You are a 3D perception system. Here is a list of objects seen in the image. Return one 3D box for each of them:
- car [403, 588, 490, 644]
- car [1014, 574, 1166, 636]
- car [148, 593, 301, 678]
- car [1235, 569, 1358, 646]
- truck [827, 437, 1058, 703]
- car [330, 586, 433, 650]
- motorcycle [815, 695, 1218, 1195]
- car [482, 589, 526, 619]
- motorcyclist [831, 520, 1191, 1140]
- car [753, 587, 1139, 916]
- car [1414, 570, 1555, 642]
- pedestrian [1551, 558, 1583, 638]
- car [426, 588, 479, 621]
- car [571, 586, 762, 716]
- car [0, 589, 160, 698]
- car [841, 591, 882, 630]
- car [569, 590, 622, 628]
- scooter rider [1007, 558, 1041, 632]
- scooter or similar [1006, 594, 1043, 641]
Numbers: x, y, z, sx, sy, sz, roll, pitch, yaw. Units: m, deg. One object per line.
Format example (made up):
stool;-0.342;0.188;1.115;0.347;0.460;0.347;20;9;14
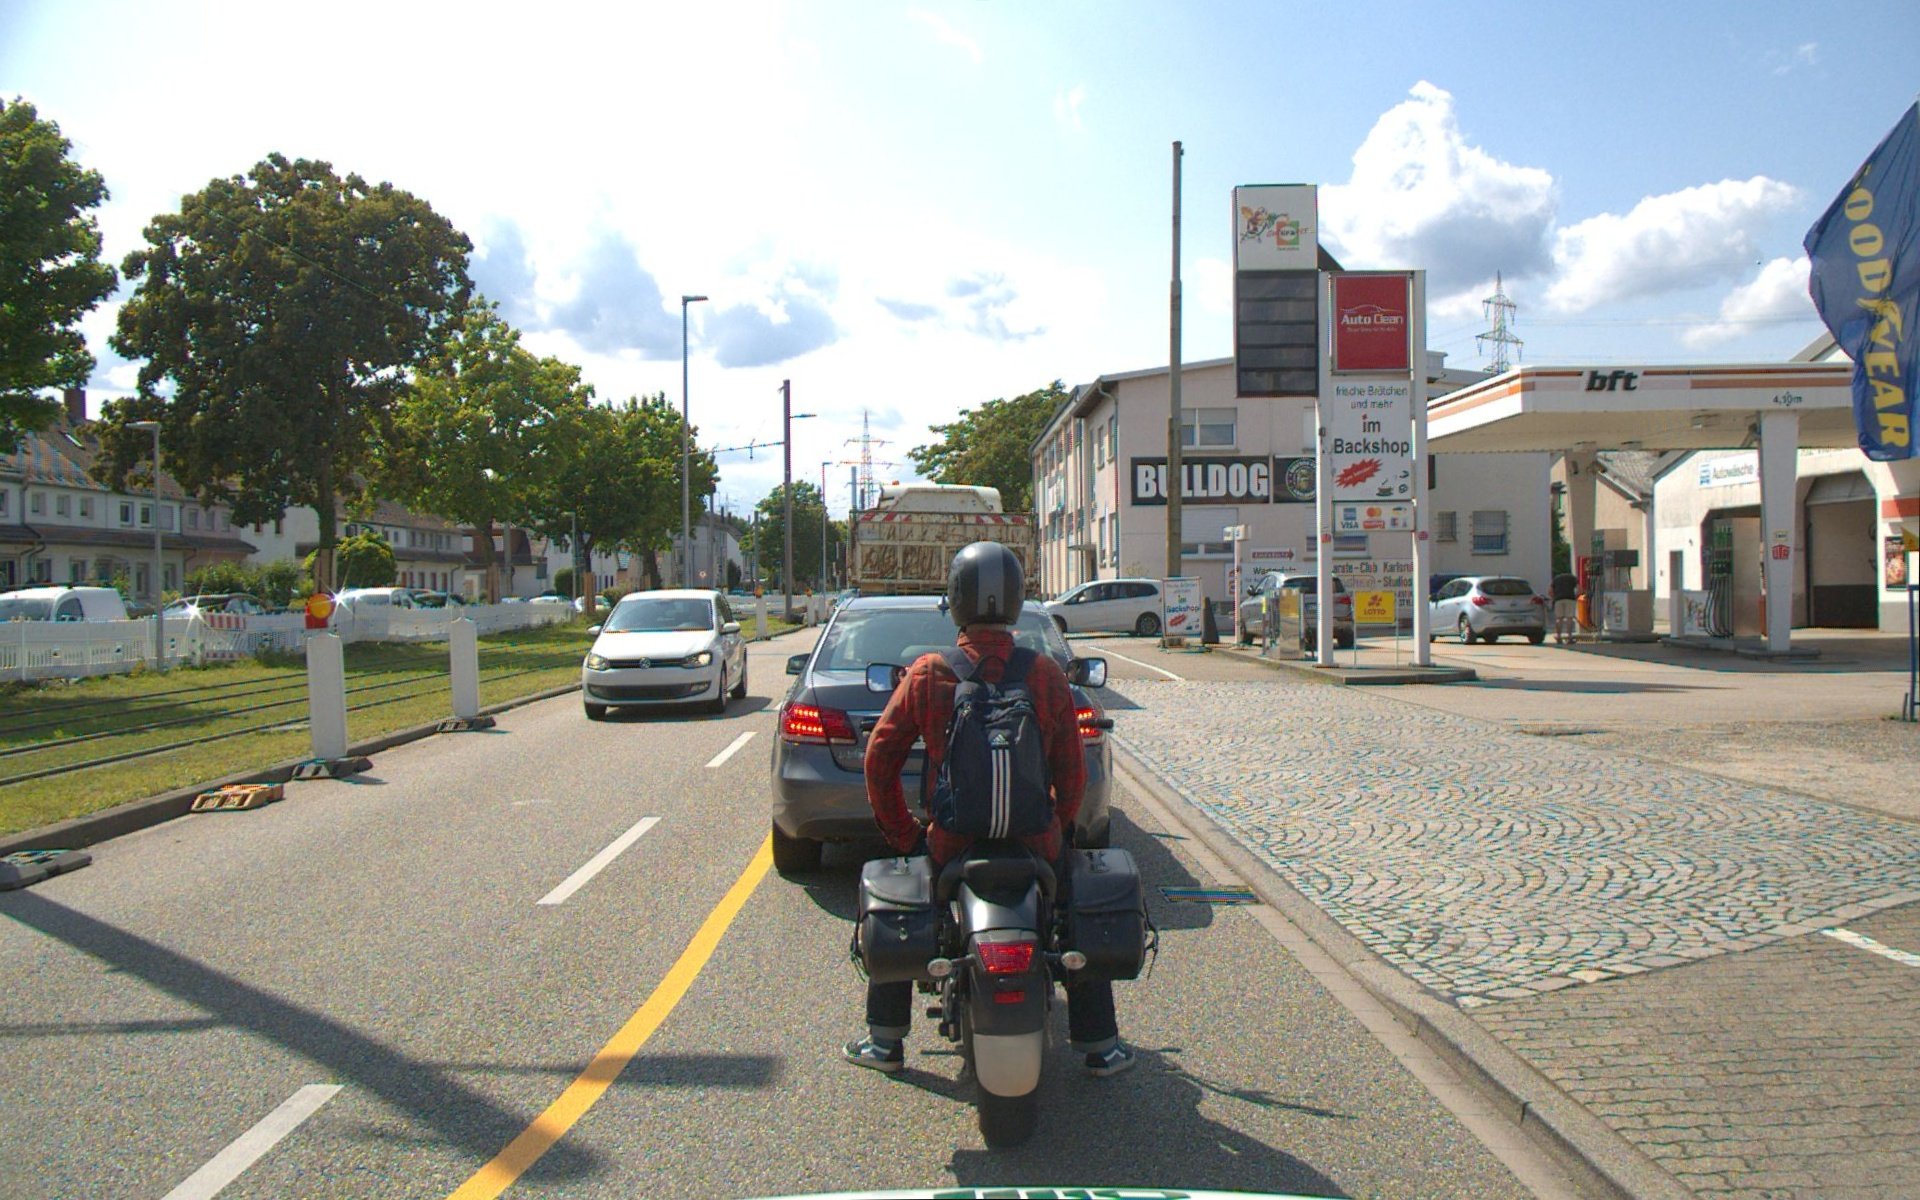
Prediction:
car;-17.020;0.495;54.973;1.664;1.770;3.860;-1;0;-1
car;3.670;0.118;47.077;4.029;1.652;1.682;-1;0;-9
car;-16.672;0.755;37.710;1.664;1.770;4.053;-1;0;-1
car;7.402;0.143;36.748;1.795;1.562;4.008;-1;0;-2
truck;-0.355;-0.422;25.462;2.910;3.362;8.404;-1;0;-2
car;-16.954;0.492;48.607;1.664;1.770;3.860;-1;0;-1
motorcycle;0.119;0.900;5.187;0.956;1.031;2.431;1;0;-1
car;-28.666;0.226;104.140;1.664;1.770;4.061;-1;0;-1
motorcyclist;0.130;0.617;5.068;0.950;1.662;1.214;1;0;-1
car;-0.126;0.696;9.820;1.795;1.505;4.008;-1;0;-2
car;11.773;0.103;37.413;1.795;1.505;4.008;-1;0;-2
pedestrian;13.135;-0.047;35.785;0.621;1.712;0.622;-1;0;20
car;-28.182;0.241;91.927;1.664;1.770;4.061;-1;0;-1
car;-3.587;0.562;20.907;1.680;1.438;4.261;-1;0;-1
car;-16.417;0.742;30.286;1.664;1.849;3.860;-1;0;-1
car;-4.378;0.436;74.071;1.646;1.652;4.118;-1;0;-1
car;-17.492;0.404;79.518;1.664;1.770;3.860;-1;0;-1
scooter rider;1.626;-0.125;42.211;0.779;1.850;0.508;-1;0;-5
scooter or similar;1.637;0.436;42.261;0.780;1.165;1.518;-1;0;-4
